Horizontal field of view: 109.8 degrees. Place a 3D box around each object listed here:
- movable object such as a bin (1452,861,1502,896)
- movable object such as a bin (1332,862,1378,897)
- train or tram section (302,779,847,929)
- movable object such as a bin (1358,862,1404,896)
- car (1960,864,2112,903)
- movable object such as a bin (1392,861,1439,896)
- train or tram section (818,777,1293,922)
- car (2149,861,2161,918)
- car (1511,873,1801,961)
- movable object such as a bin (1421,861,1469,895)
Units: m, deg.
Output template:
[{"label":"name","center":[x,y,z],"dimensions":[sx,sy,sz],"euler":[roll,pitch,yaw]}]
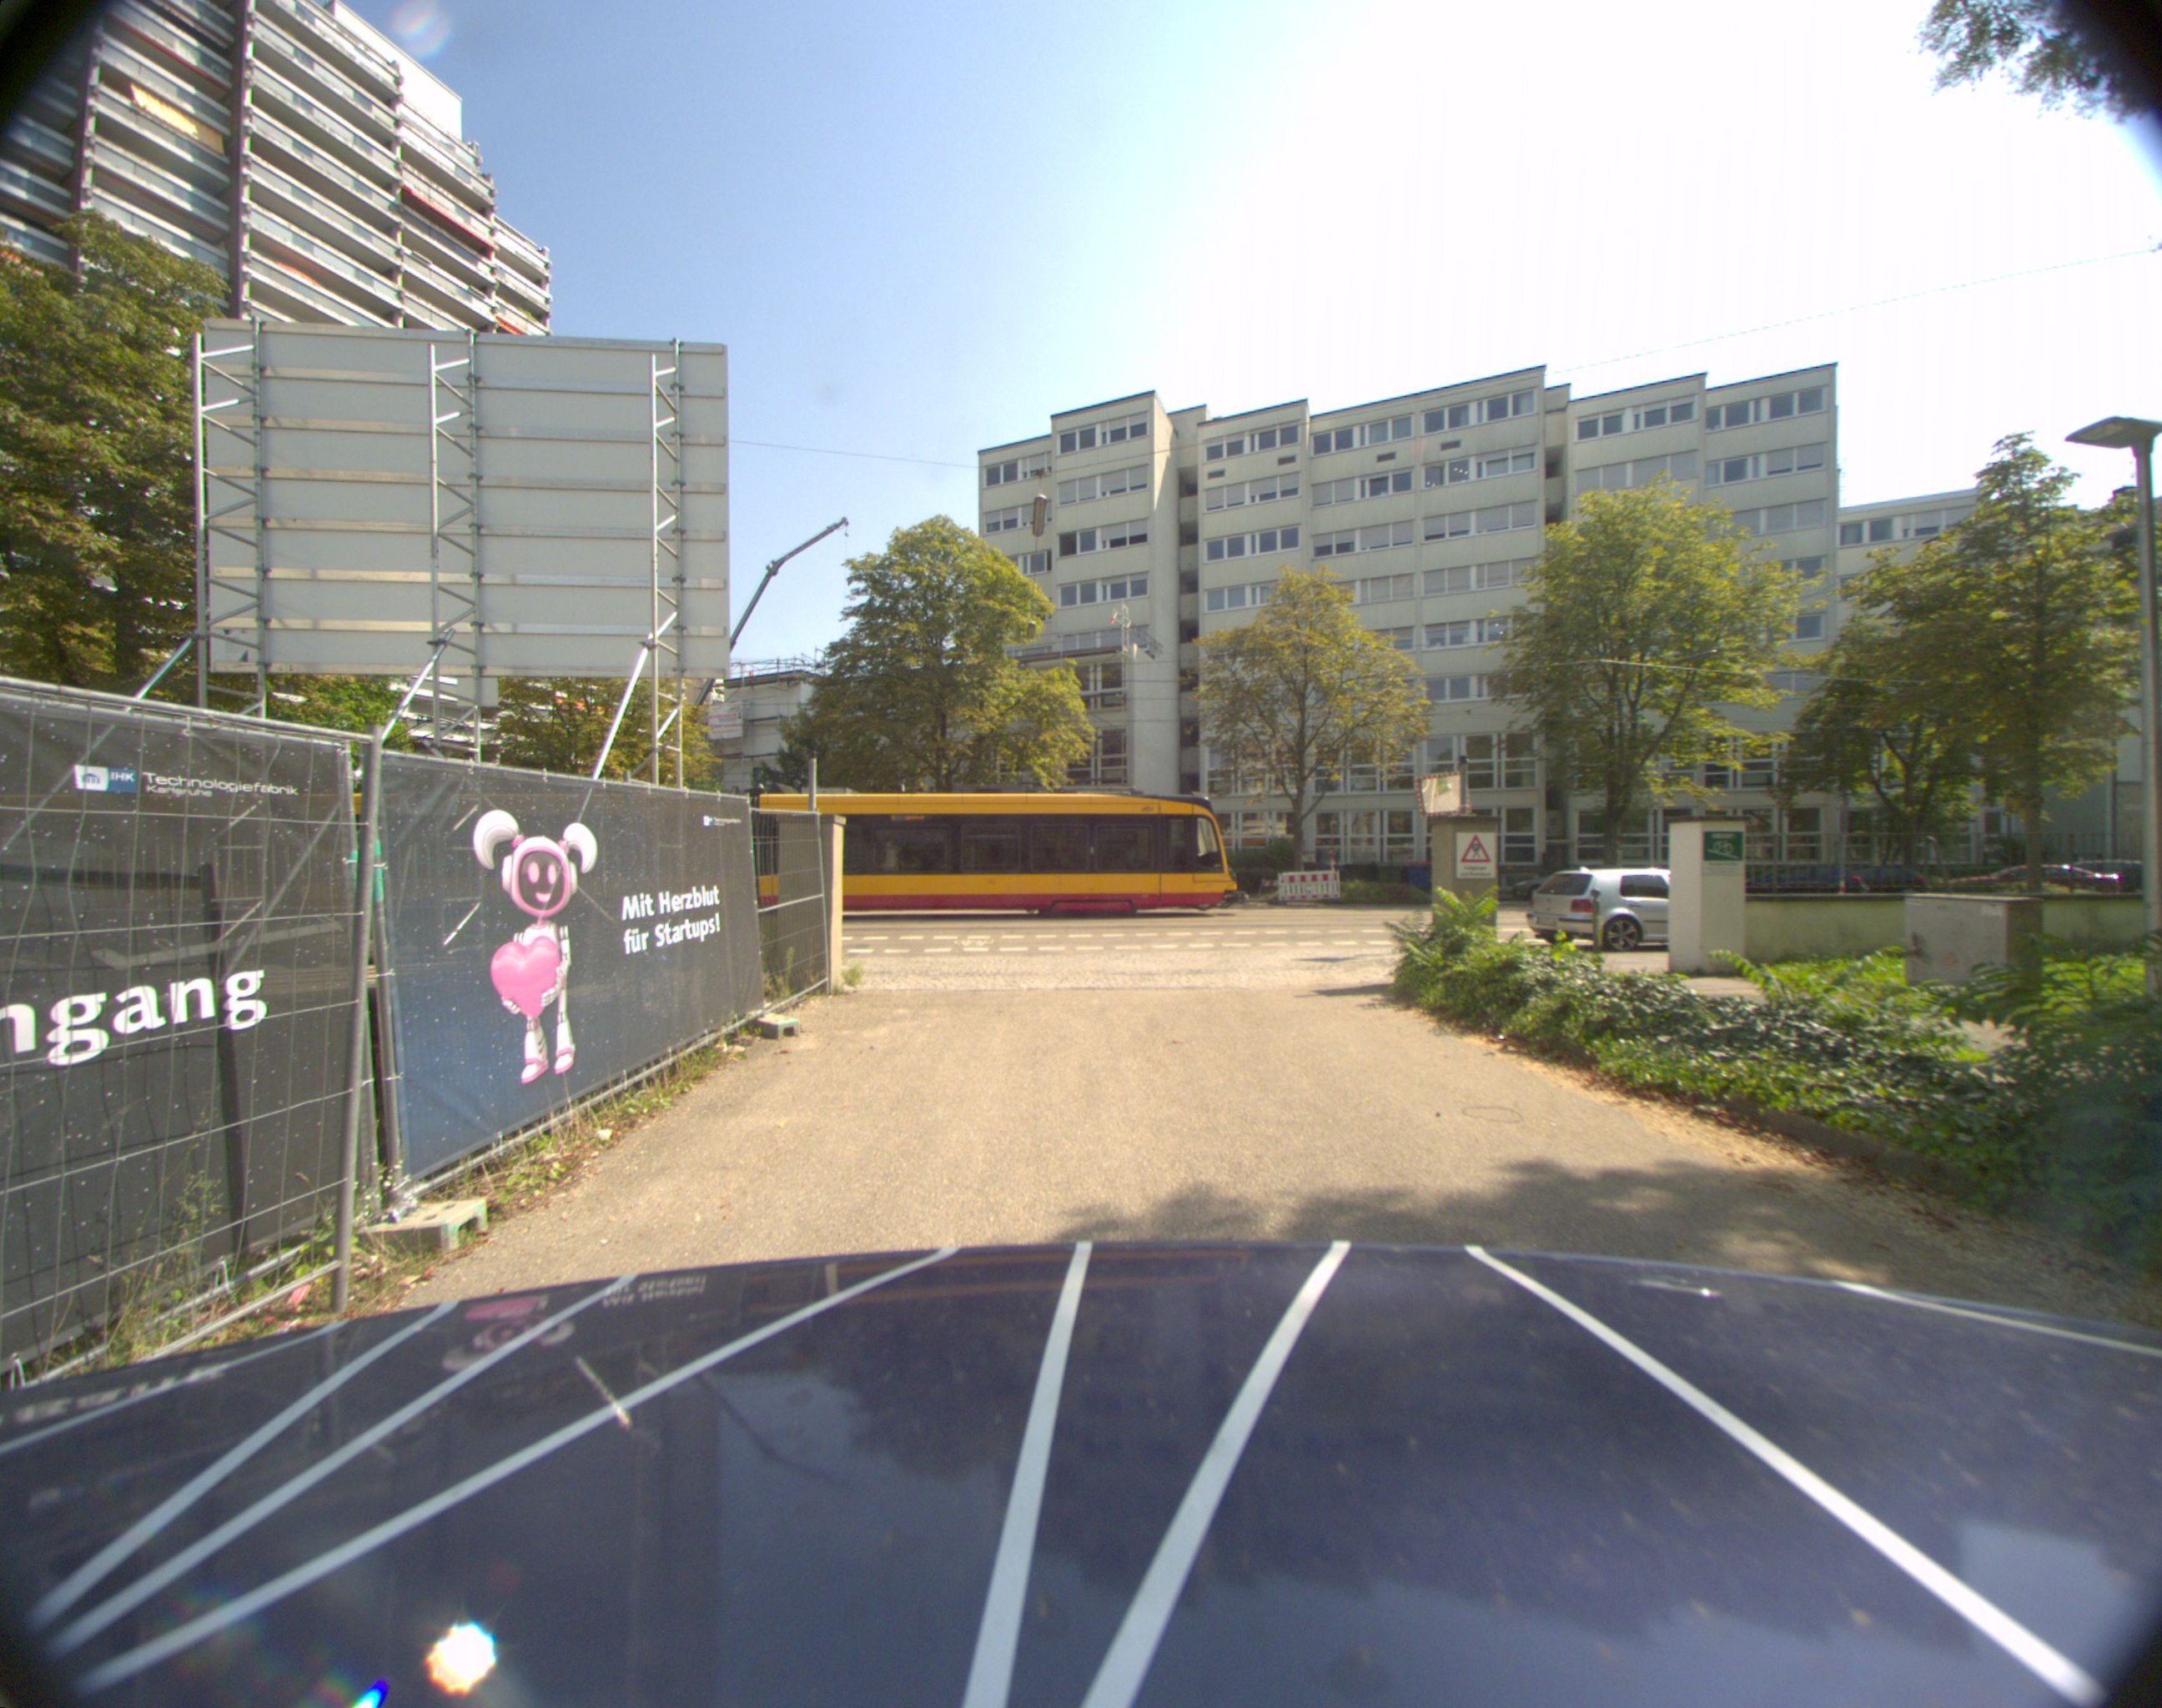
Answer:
[{"label":"movable object such as a bin","center":[18.410,1.122,35.369],"dimensions":[1.354,1.550,1.688],"euler":[0,-1,-5]},{"label":"movable object such as a bin","center":[12.434,1.126,34.532],"dimensions":[1.354,1.550,1.688],"euler":[0,-1,-5]},{"label":"train or tram section","center":[-13.255,-0.033,21.002],"dimensions":[12.405,3.683,3.507],"euler":[-1,1,-3]},{"label":"movable object such as a bin","center":[13.838,1.130,35.082],"dimensions":[1.354,1.550,1.688],"euler":[0,-1,-5]},{"label":"car","center":[38.604,1.161,30.861],"dimensions":[1.680,1.443,3.660],"euler":[0,0,-45]},{"label":"movable object such as a bin","center":[15.395,1.122,35.006],"dimensions":[1.354,1.550,1.688],"euler":[0,-1,-5]},{"label":"train or tram section","center":[-0.642,-0.151,21.627],"dimensions":[12.405,3.683,3.507],"euler":[-1,1,-3]},{"label":"car","center":[30.005,0.892,19.098],"dimensions":[4.017,1.483,1.825],"euler":[0,-1,-4]},{"label":"car","center":[9.908,1.048,13.304],"dimensions":[3.730,1.437,1.797],"euler":[0,-1,-1]},{"label":"movable object such as a bin","center":[16.881,1.115,35.286],"dimensions":[1.354,1.550,1.688],"euler":[0,-1,-5]}]
